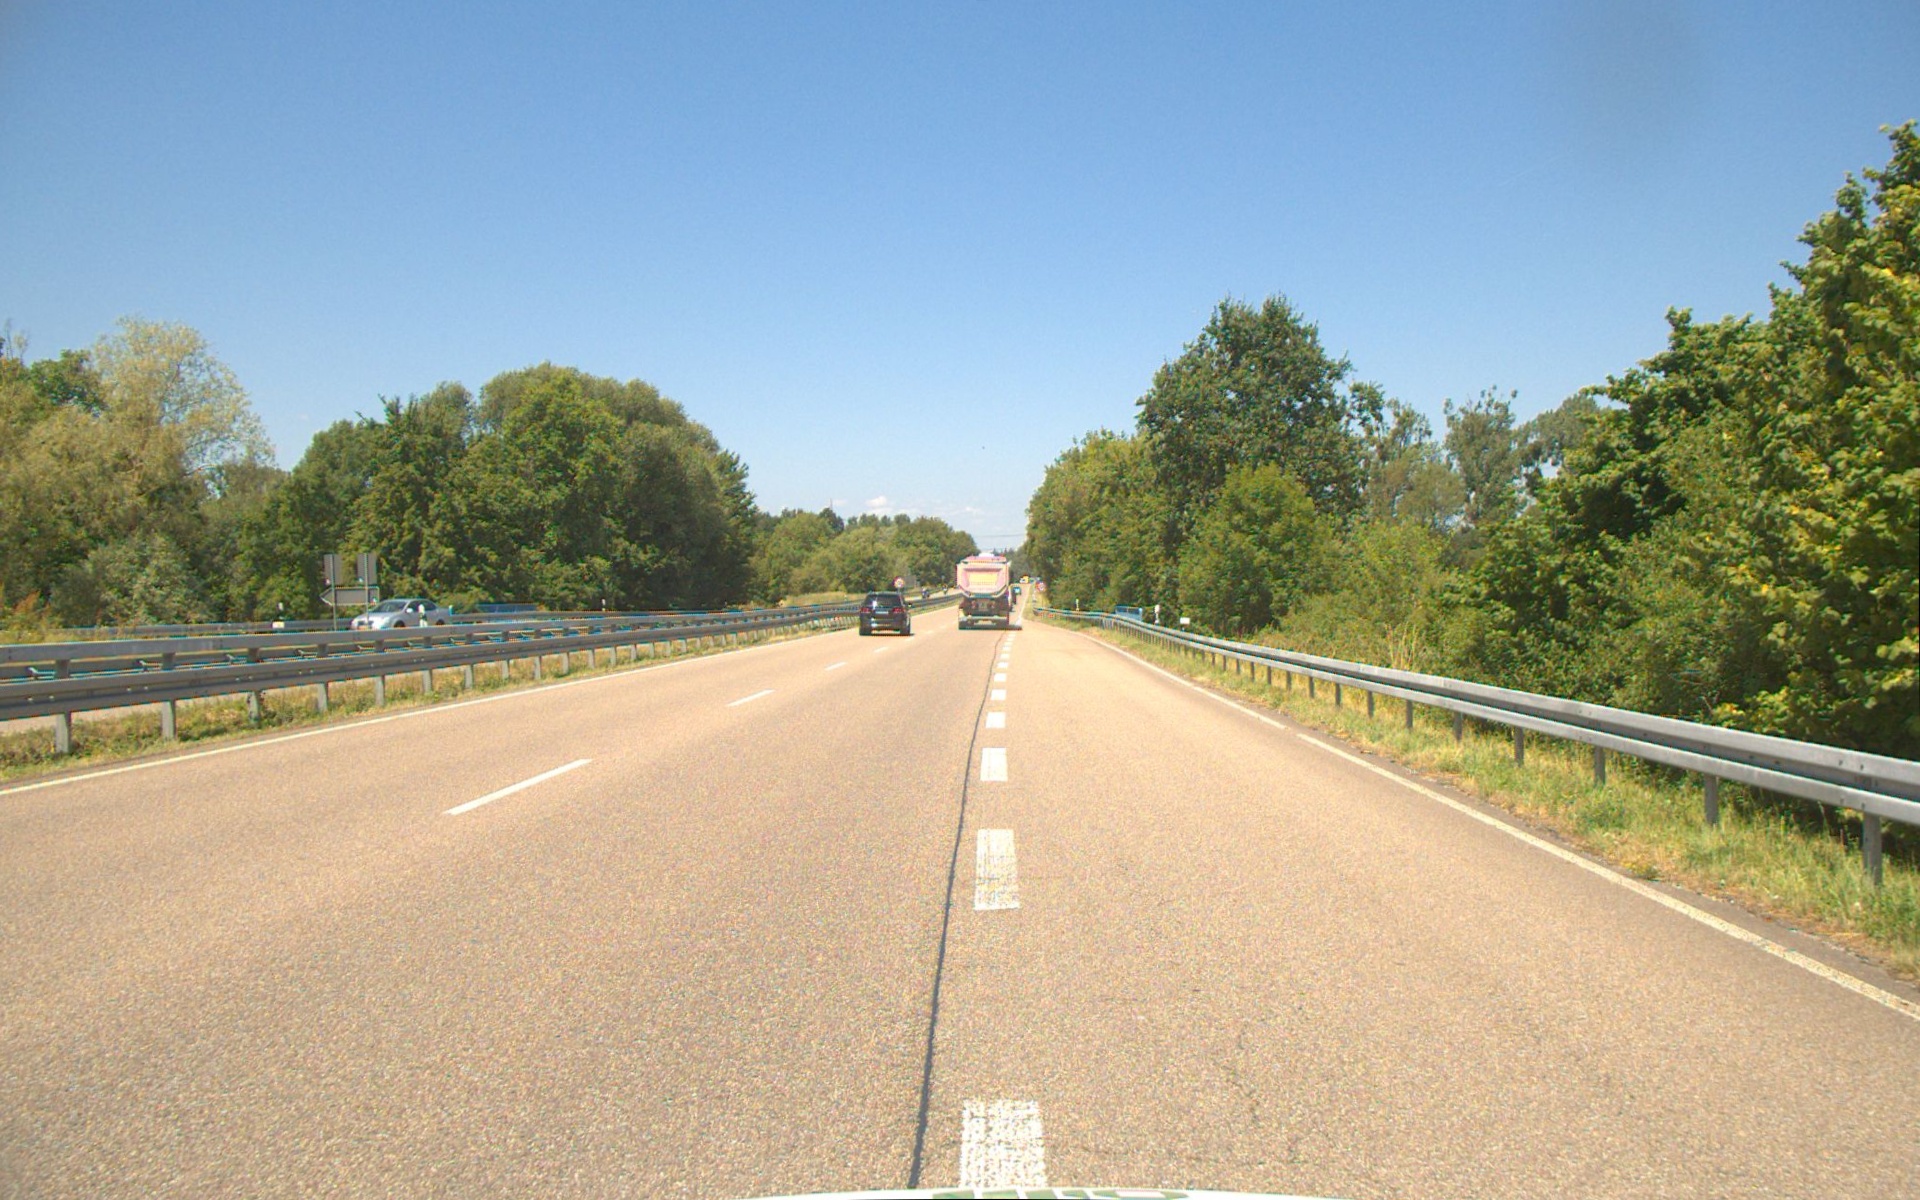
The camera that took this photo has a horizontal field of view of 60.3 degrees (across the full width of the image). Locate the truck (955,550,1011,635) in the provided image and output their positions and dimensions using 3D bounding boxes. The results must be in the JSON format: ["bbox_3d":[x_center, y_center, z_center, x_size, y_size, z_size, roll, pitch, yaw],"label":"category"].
[{"bbox_3d":[1.282,-0.457,84.877,2.664,3.998,12.374,0,1,2],"label":"truck"}]

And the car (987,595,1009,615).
[{"bbox_3d":[3.300,0.454,143.189,1.819,1.700,4.000,0,-1,1],"label":"car"}]

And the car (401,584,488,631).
[{"bbox_3d":[-17.225,0.267,55.456,1.880,1.515,3.997,1,-1,-4],"label":"car"}]

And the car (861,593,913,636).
[{"bbox_3d":[-2.939,0.588,67.123,1.819,1.700,4.000,0,-1,1],"label":"car"}]

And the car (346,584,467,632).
[{"bbox_3d":[-20.400,0.299,61.186,1.688,1.673,4.946,1,0,16],"label":"car"}]
